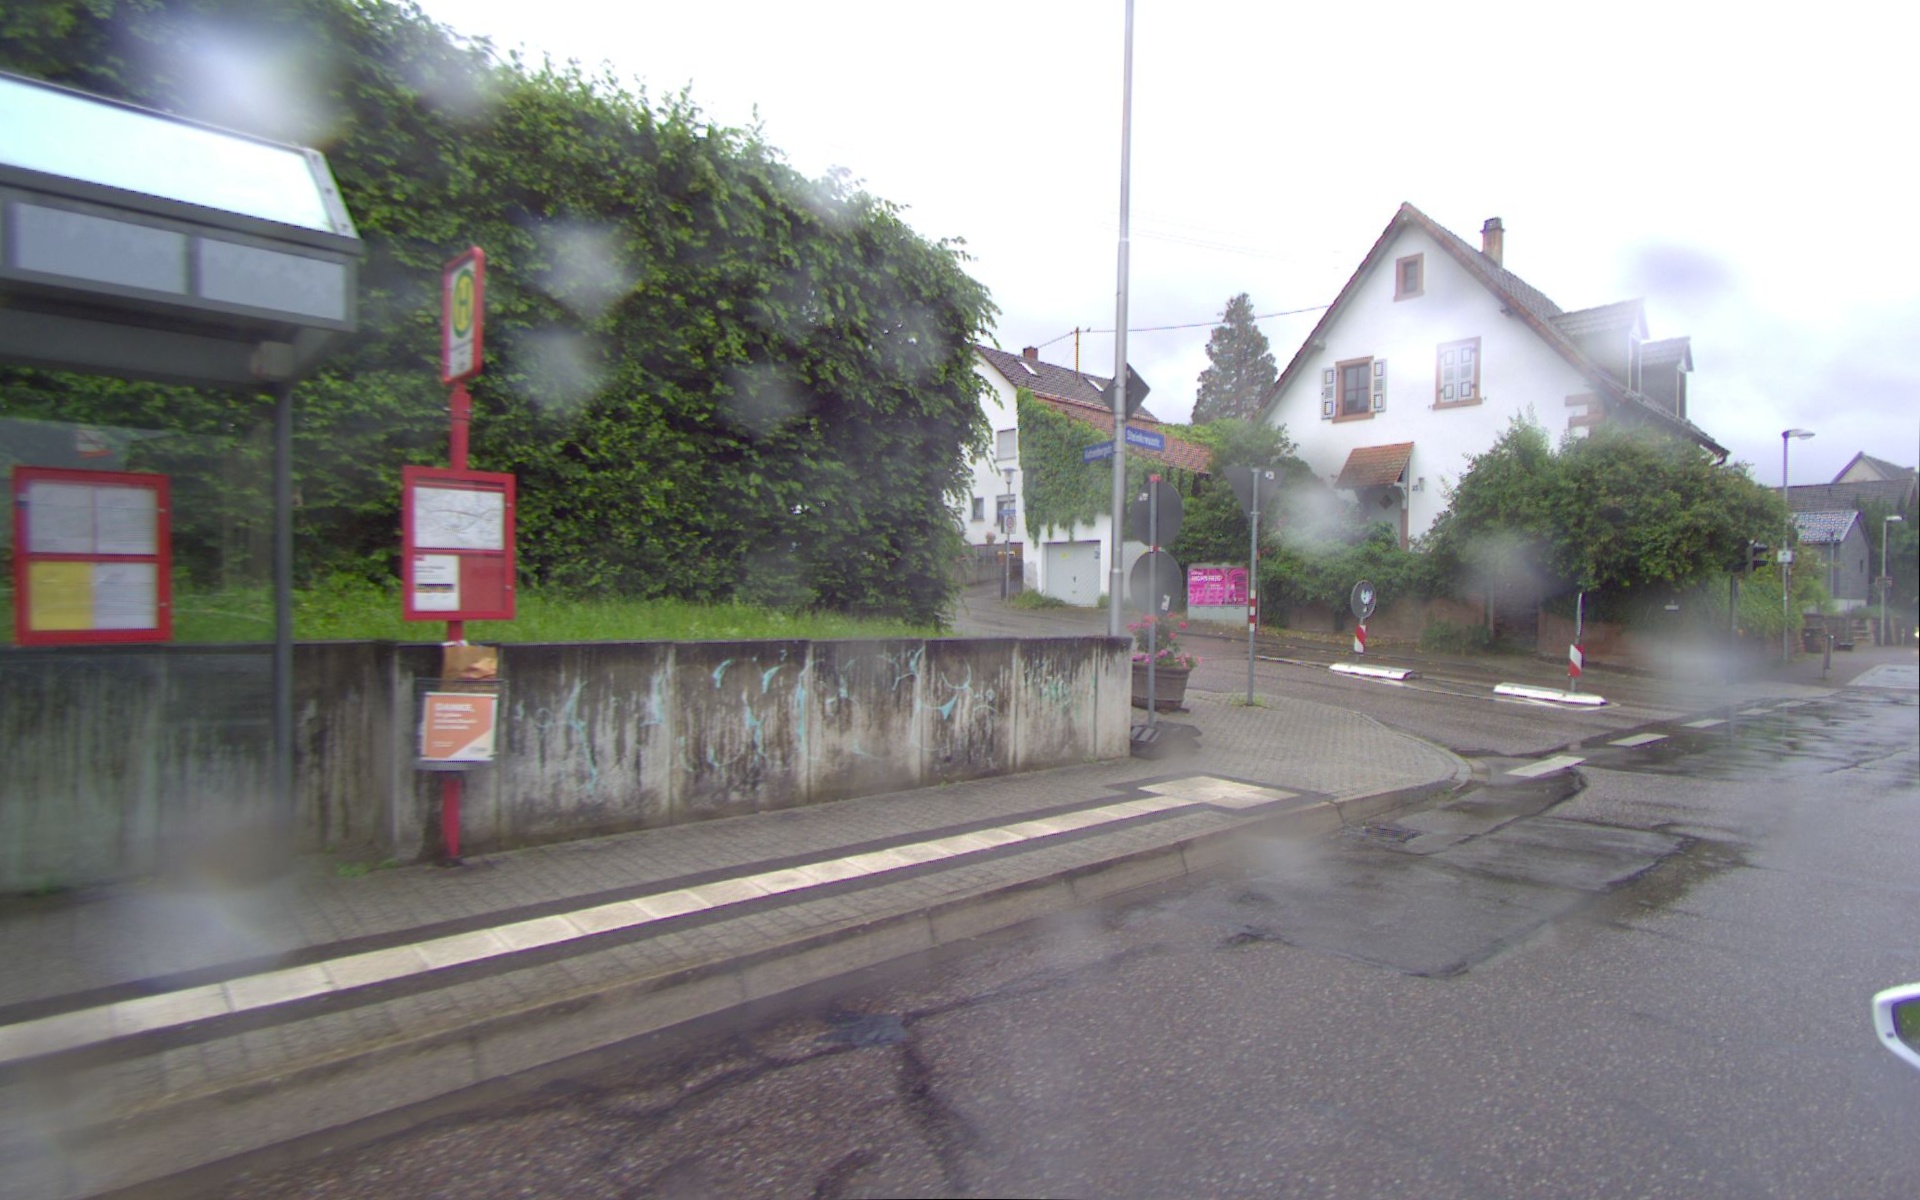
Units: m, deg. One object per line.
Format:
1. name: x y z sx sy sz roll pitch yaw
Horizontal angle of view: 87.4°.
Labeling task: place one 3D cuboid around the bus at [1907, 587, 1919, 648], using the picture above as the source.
1. bus: 53.515 0.836 54.075 12.098 3.040 2.625 -1 2 -42

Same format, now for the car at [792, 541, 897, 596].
1. car: -4.298 -1.173 36.906 1.886 1.534 3.843 2 6 -42
